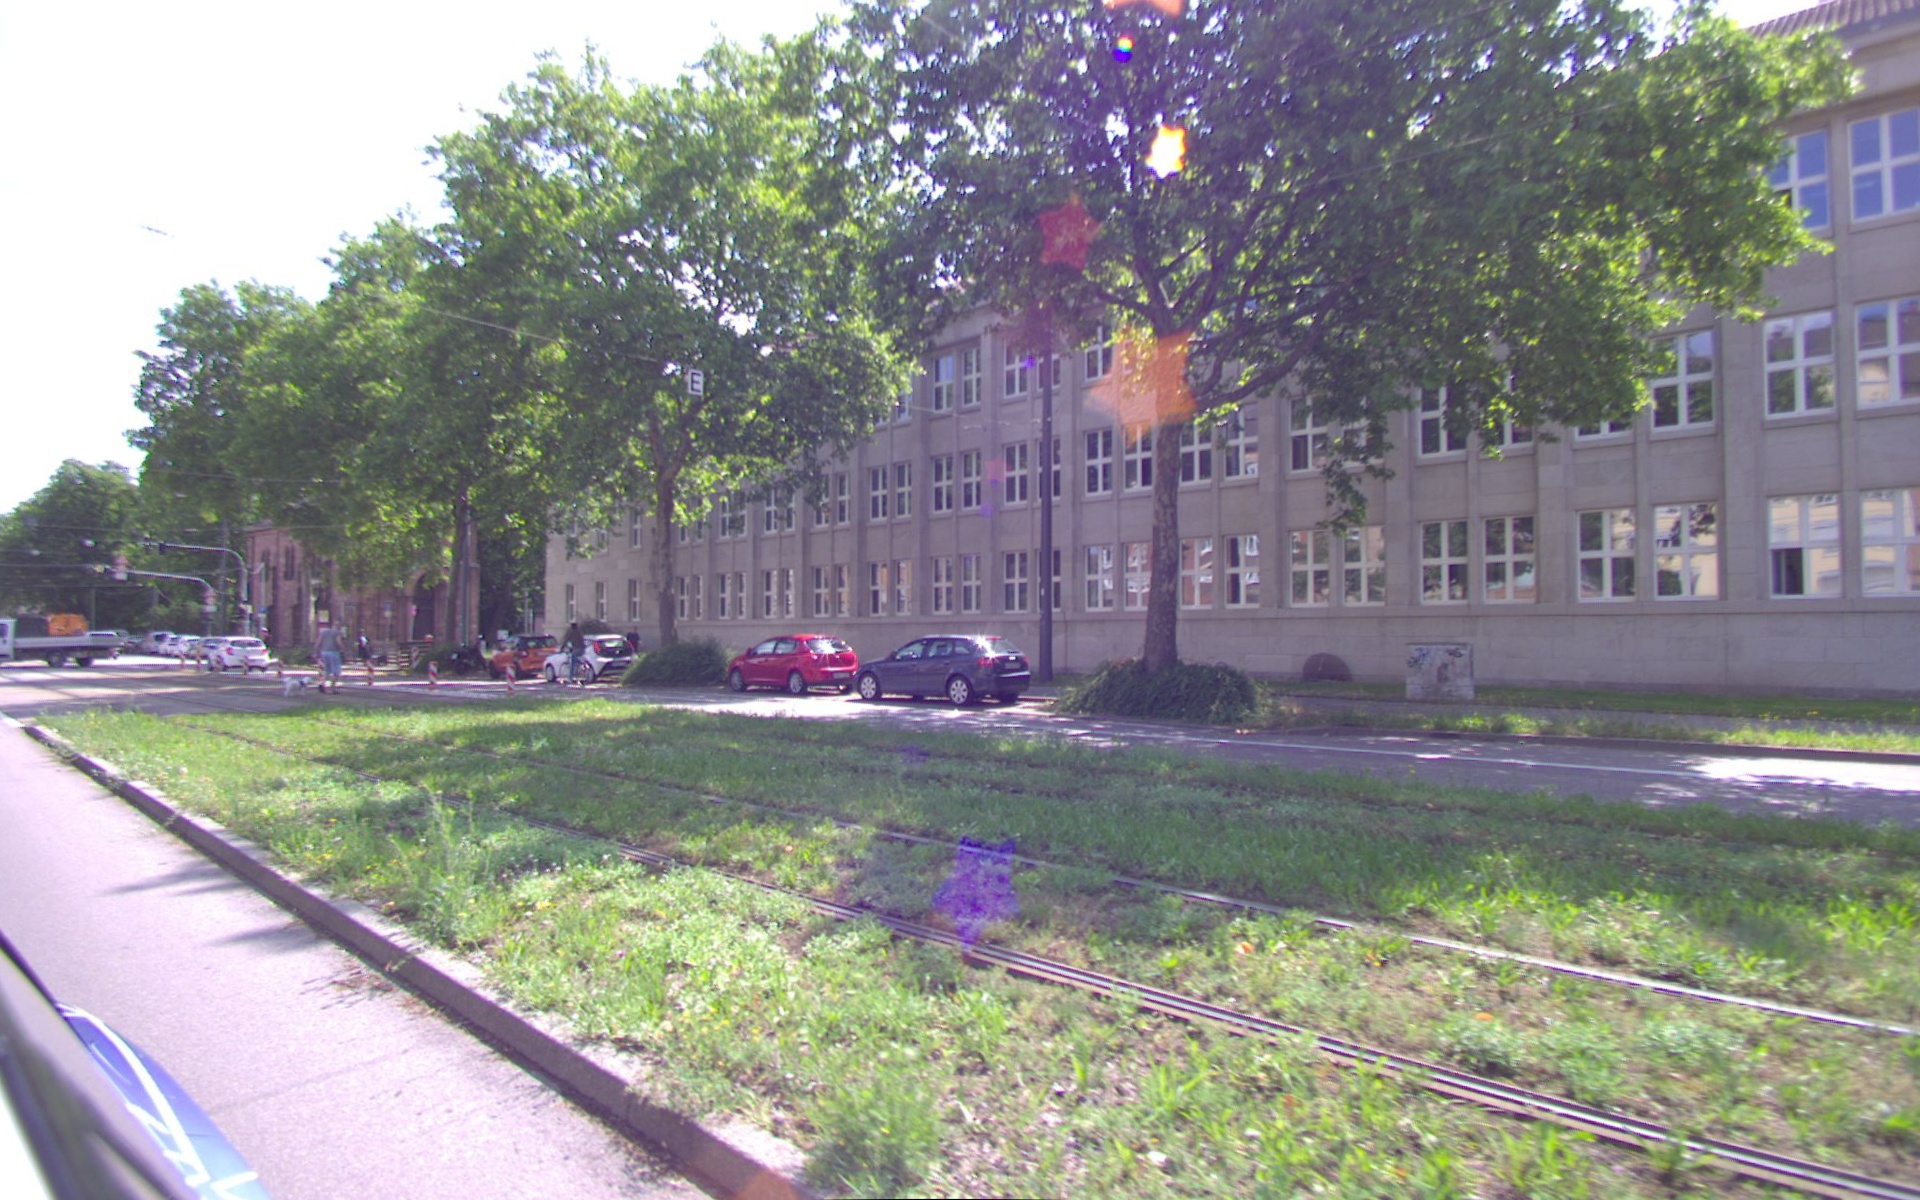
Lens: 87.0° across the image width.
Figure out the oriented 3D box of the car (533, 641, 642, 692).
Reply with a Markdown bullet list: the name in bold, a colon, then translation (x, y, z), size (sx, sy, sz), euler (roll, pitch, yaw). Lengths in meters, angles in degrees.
- **car**: translation (-11.744, 2.065, 31.812), size (3.489, 1.465, 1.729), euler (-3, -2, 41)

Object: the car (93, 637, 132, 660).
- **car**: translation (-76.579, 4.346, 91.445), size (4.082, 2.019, 1.968), euler (-2, -2, 40)

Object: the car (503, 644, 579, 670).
- **car**: translation (-27.368, 3.697, 66.189), size (4.365, 1.620, 1.754), euler (0, -3, 12)

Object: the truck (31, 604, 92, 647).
- **truck**: translation (-69.914, 2.028, 78.700), size (7.222, 3.130, 2.610), euler (-2, -5, 43)

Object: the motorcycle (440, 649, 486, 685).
- **motorcycle**: translation (-18.890, 2.537, 38.526), size (0.537, 1.184, 2.105), euler (-4, 0, 4)

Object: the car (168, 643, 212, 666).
- **car**: translation (-53.708, 3.773, 70.566), size (4.000, 1.508, 1.737), euler (-2, -2, 43)

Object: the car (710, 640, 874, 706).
- **car**: translation (-4.217, 1.756, 25.052), size (4.049, 1.431, 1.905), euler (-3, -2, 43)

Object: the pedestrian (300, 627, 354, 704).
- **pedestrian**: translation (-14.450, 1.470, 23.118), size (0.697, 1.717, 0.779), euler (-1, -2, 18)

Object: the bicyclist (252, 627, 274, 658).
- **bicyclist**: translation (-41.705, 2.534, 60.568), size (0.661, 1.798, 0.874), euler (-2, -1, 34)

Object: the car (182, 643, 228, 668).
- **car**: translation (-50.332, 3.673, 67.455), size (4.000, 1.508, 1.737), euler (-2, -2, 43)

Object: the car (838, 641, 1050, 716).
- **car**: translation (-0.419, 1.607, 21.440), size (4.314, 1.379, 1.906), euler (-3, -2, 41)

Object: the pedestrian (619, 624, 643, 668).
- **pedestrian**: translation (-12.283, 1.714, 37.777), size (0.795, 1.603, 0.548), euler (-2, -2, 42)

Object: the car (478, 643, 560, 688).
- **car**: translation (-15.214, 2.232, 34.880), size (2.881, 1.465, 1.471), euler (-3, -2, 41)

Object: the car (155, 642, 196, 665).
- **car**: translation (-57.117, 3.872, 73.623), size (4.000, 1.508, 1.737), euler (-2, -2, 43)

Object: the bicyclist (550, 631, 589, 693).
- **bicyclist**: translation (-11.034, 1.744, 28.597), size (0.783, 1.717, 0.753), euler (-2, -2, 42)

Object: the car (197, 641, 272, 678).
- **car**: translation (-31.019, 2.558, 43.256), size (3.786, 1.491, 1.741), euler (-3, -6, 41)

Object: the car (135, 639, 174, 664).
- **car**: translation (-62.070, 3.914, 77.964), size (4.000, 1.850, 1.737), euler (-2, -2, 43)

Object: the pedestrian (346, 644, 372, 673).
- **pedestrian**: translation (-27.576, 2.678, 46.436), size (0.913, 1.221, 0.747), euler (-2, 2, 44)

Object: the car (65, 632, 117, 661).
- **car**: translation (-56.928, 3.025, 66.280), size (4.535, 1.759, 1.900), euler (-2, -6, 42)

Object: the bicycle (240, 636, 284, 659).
- **bicycle**: translation (-41.739, 2.821, 60.516), size (0.670, 1.300, 2.064), euler (-2, -1, 35)

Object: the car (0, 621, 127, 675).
- **car**: translation (-42.680, 2.185, 46.279), size (6.869, 2.392, 2.267), euler (0, -3, -9)

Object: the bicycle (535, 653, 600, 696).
- **bicycle**: translation (-11.151, 2.087, 28.685), size (2.276, 1.118, 0.782), euler (-2, -2, 42)
